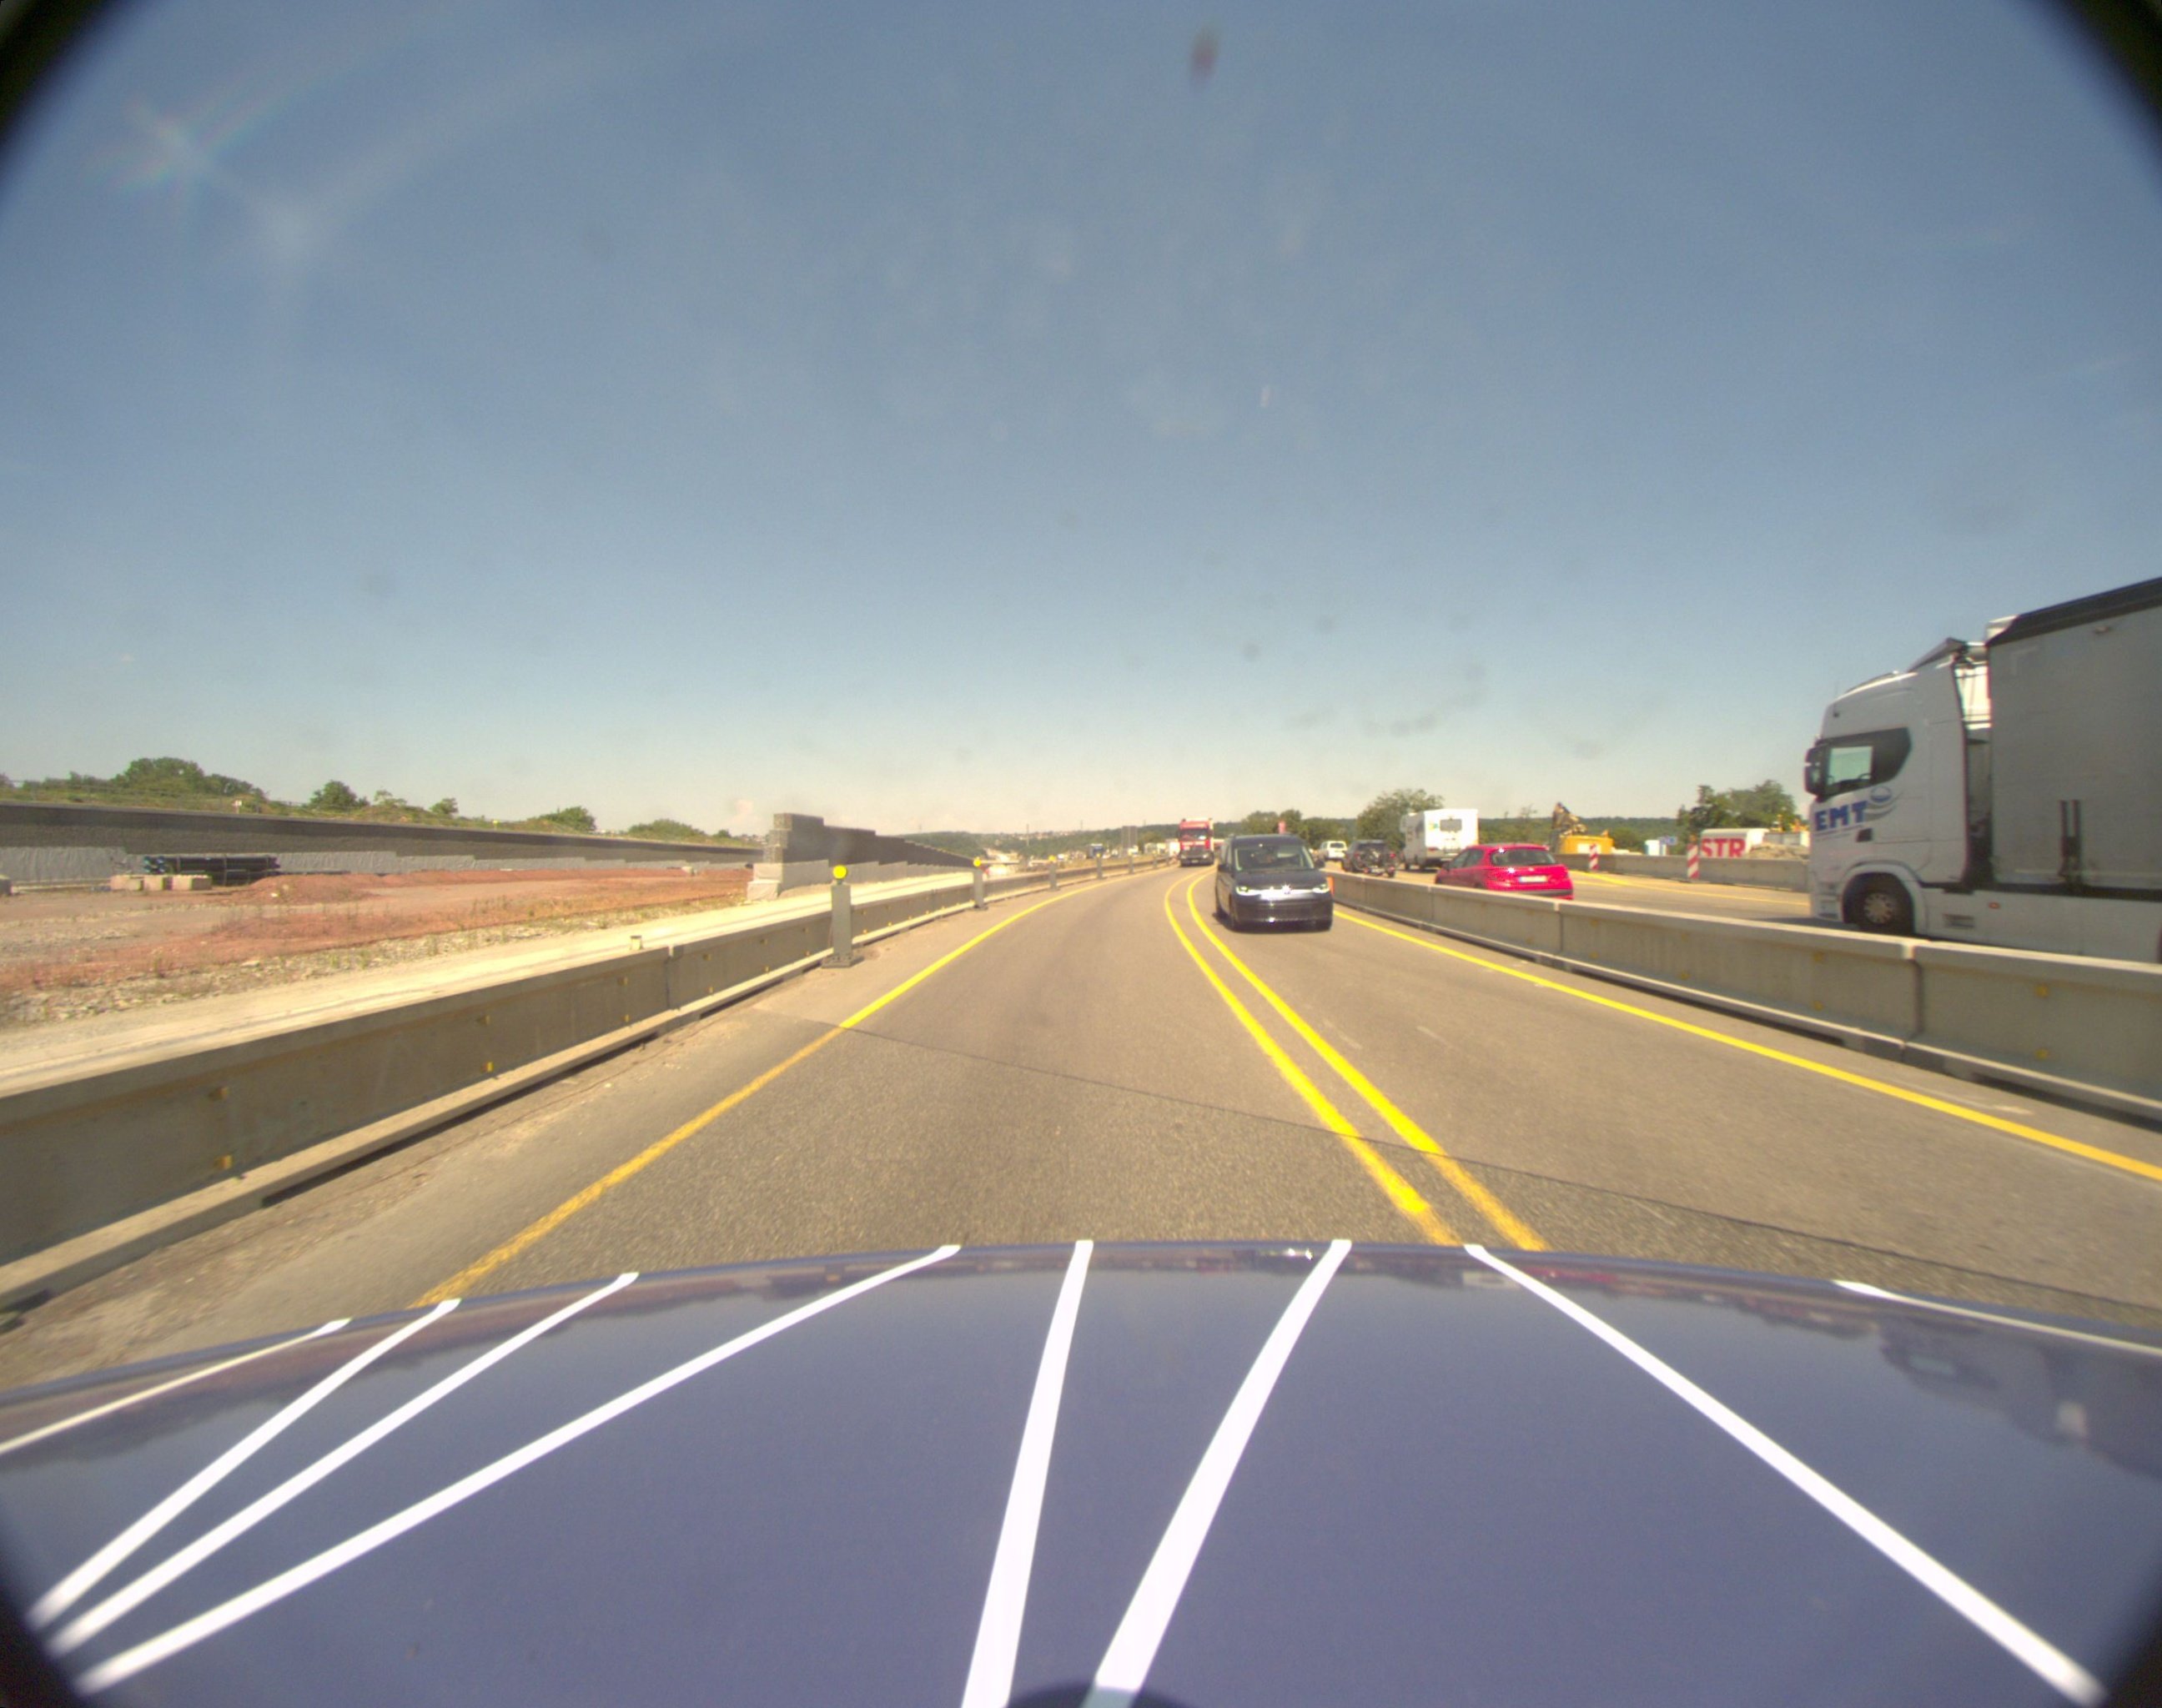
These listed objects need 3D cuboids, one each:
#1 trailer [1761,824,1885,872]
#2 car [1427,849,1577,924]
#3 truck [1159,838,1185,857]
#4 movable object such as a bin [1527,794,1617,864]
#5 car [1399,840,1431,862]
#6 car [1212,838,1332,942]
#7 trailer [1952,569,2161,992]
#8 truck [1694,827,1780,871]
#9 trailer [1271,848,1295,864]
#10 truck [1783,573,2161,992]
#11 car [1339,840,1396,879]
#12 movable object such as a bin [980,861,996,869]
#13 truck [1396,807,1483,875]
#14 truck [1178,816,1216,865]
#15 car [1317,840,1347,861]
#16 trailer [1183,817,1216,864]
[{"bbox_3d":[48.406,-0.422,49.652,5.580,2.979,2.882,-1,0,-6],"label":"trailer"},{"bbox_3d":[9.175,0.637,16.930,1.671,1.467,3.973,-1,0,9],"label":"car"},{"bbox_3d":[16.315,-1.112,137.151,2.588,3.361,6.920,-1,0,-11],"label":"truck"},{"bbox_3d":[33.540,-1.589,52.318,2.927,4.304,9.338,-1,0,18],"label":"movable object such as a bin"},{"bbox_3d":[26.355,-0.243,60.048,1.722,1.618,4.341,-1,0,16],"label":"car"},{"bbox_3d":[3.707,0.612,15.529,1.924,1.779,4.606,-2,0,9],"label":"car"},{"bbox_3d":[11.413,-0.704,2.190,2.766,4.090,13.982,-1,0,5],"label":"trailer"},{"bbox_3d":[47.100,-0.368,54.661,2.348,3.026,4.262,-1,0,-6],"label":"truck"},{"bbox_3d":[25.623,0.229,96.486,1.870,2.010,4.436,-1,0,1],"label":"trailer"},{"bbox_3d":[11.990,-0.712,8.987,2.707,4.038,5.503,-1,0,7],"label":"truck"},{"bbox_3d":[12.453,0.229,33.265,1.663,1.596,4.400,-1,0,11],"label":"car"},{"bbox_3d":[-25.880,3.190,211.910,4.141,2.135,1.758,-1,1,-33],"label":"movable object such as a bin"},{"bbox_3d":[17.809,-0.612,38.159,2.445,3.054,7.255,-1,0,13],"label":"truck"},{"bbox_3d":[9.714,-1.109,63.494,2.624,3.880,4.939,-1,0,14],"label":"truck"},{"bbox_3d":[24.377,-0.340,73.927,1.869,1.942,4.895,-1,0,8],"label":"car"},{"bbox_3d":[10.999,-1.146,69.924,2.699,3.852,12.432,-1,0,10],"label":"trailer"}]
